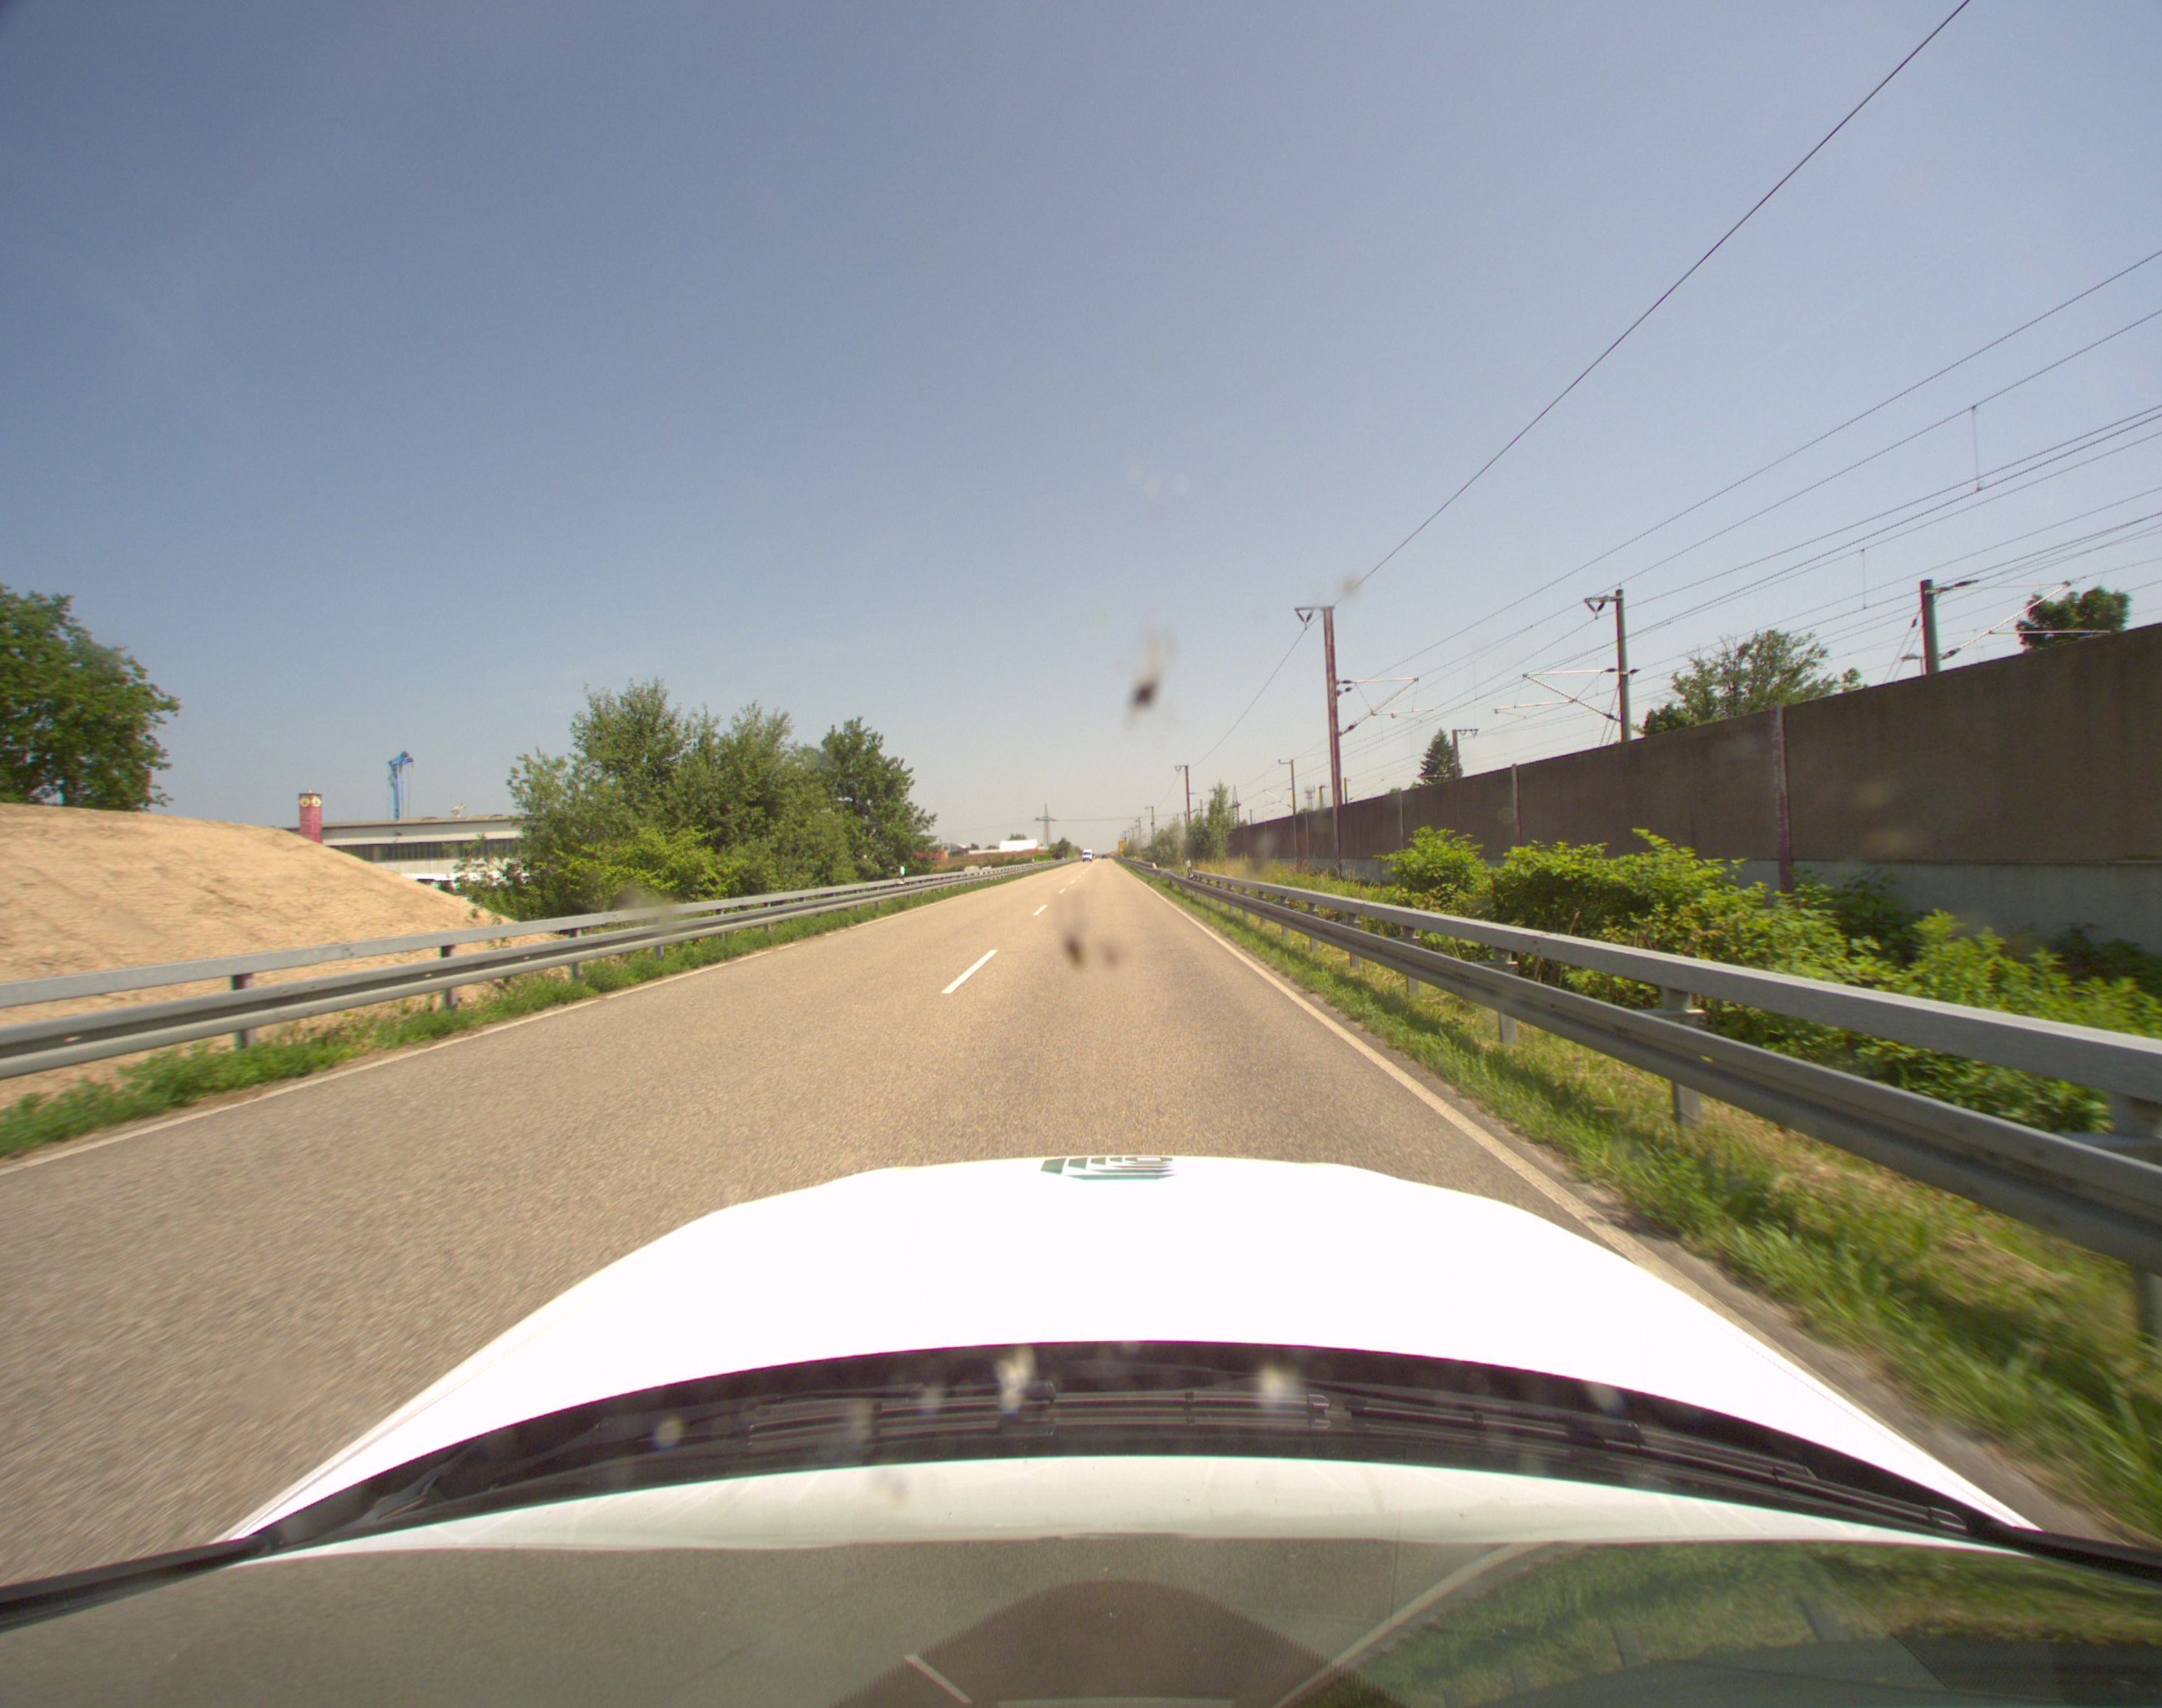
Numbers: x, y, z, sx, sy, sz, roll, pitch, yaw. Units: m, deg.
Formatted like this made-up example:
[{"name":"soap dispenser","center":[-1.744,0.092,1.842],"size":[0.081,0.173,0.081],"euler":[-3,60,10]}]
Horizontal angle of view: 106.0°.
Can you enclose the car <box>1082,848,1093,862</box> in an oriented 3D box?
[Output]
[{"name":"car","center":[1.424,0.227,171.109],"size":[2.071,2.962,6.731],"euler":[-1,0,1]}]
